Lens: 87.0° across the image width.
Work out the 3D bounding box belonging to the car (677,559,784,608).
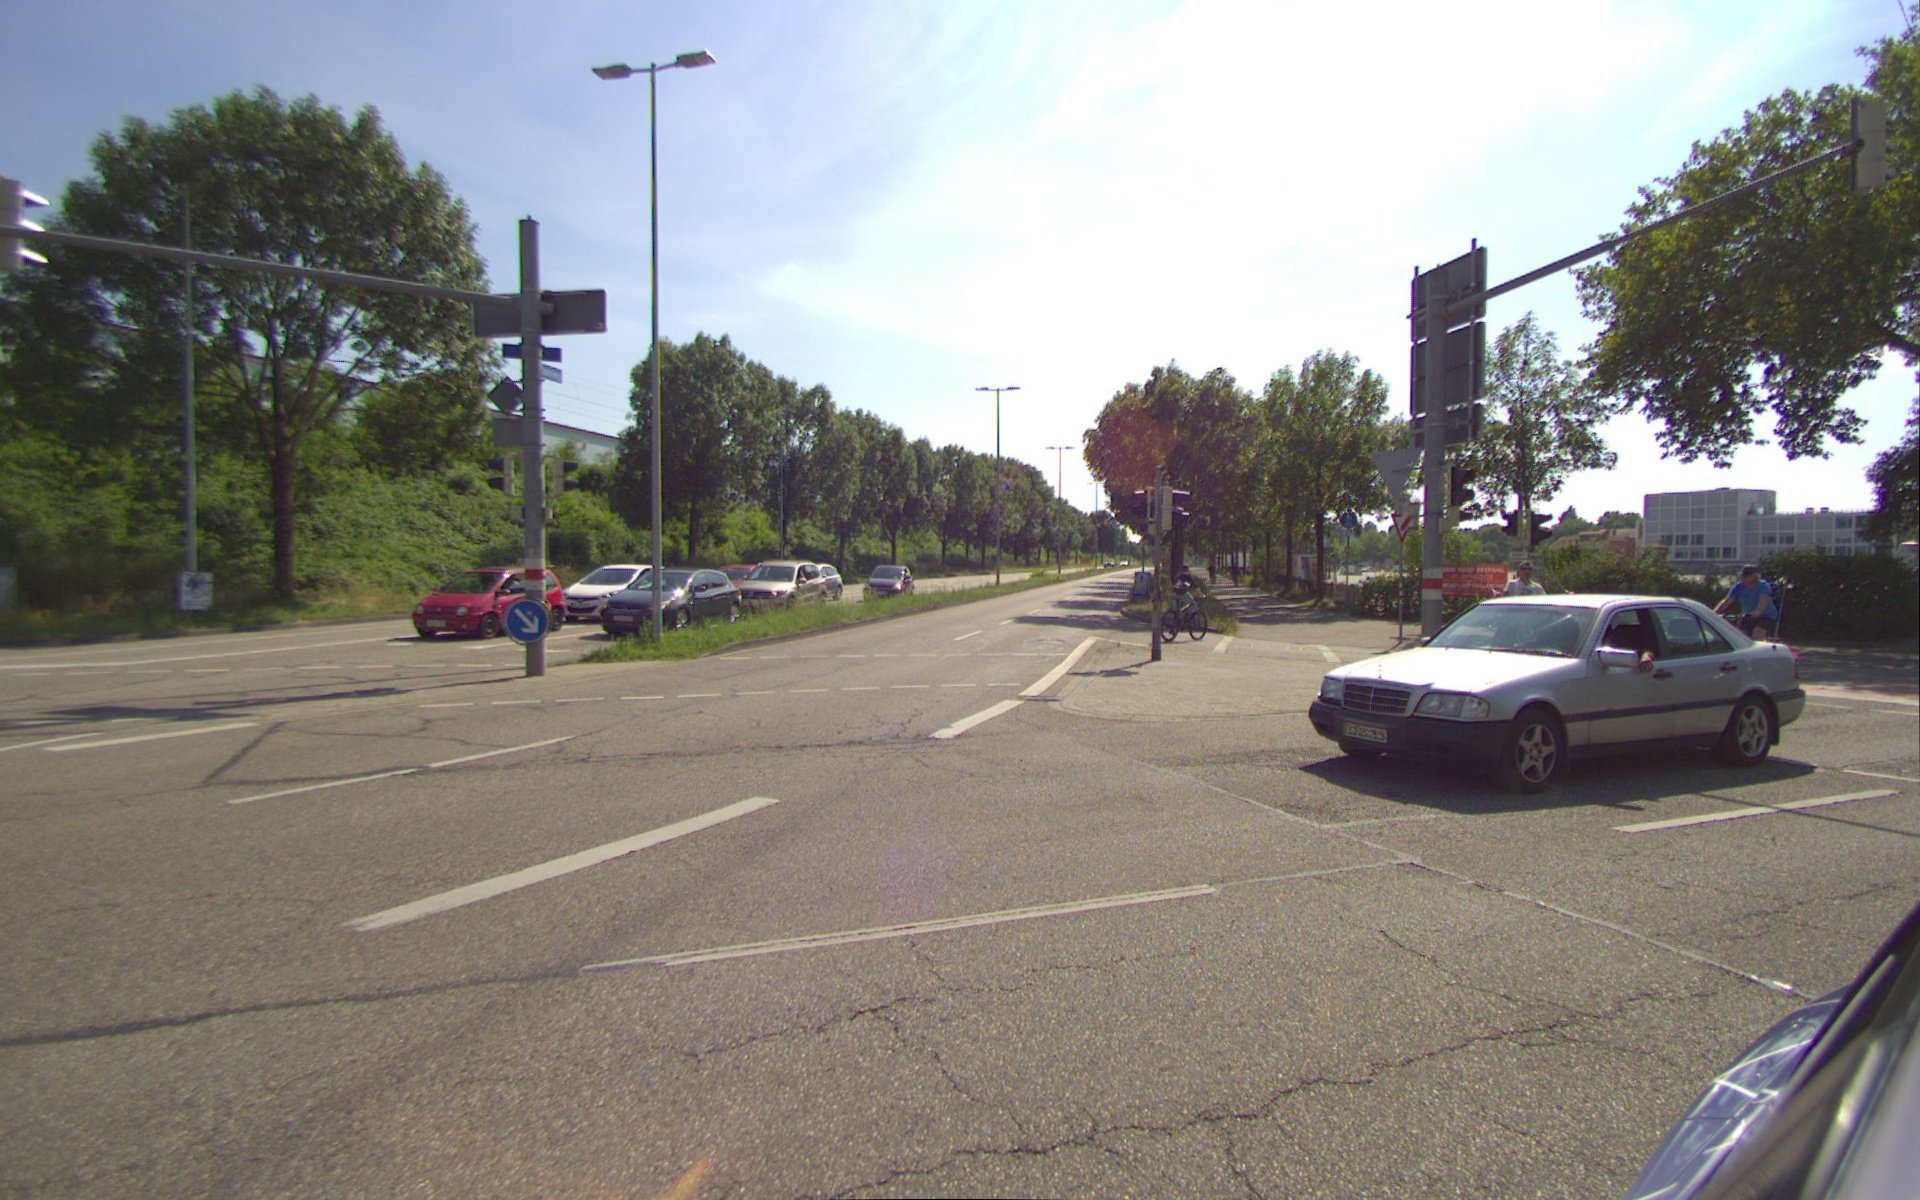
[{"bbox_3d":[-7.557,-0.539,33.691,1.693,1.527,3.977,0,0,18],"label":"car"}]

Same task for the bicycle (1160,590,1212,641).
[{"bbox_3d":[5.433,0.335,24.448,0.869,1.072,2.769,0,2,5],"label":"bicycle"}]

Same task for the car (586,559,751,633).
[{"bbox_3d":[-6.467,-0.100,22.917,1.693,1.527,3.977,0,0,18],"label":"car"}]

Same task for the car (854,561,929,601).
[{"bbox_3d":[-2.705,-0.733,40.800,1.693,1.527,3.977,0,0,18],"label":"car"}]

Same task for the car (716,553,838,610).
[{"bbox_3d":[-5.183,-0.509,29.216,1.693,1.527,4.187,0,0,18],"label":"car"}]

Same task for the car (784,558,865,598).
[{"bbox_3d":[-5.372,-0.857,40.498,1.693,1.527,3.977,0,0,18],"label":"car"}]

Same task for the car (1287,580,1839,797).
[{"bbox_3d":[5.063,0.570,8.478,4.349,1.408,1.720,-1,2,-23],"label":"car"}]

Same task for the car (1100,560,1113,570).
[{"bbox_3d":[26.993,-6.504,186.037,1.970,1.771,4.257,0,2,13],"label":"car"}]

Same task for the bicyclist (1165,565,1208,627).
[{"bbox_3d":[5.419,-0.111,24.247,0.869,1.460,0.965,0,2,6],"label":"bicyclist"}]

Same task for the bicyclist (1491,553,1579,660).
[{"bbox_3d":[8.140,0.068,14.359,0.760,1.453,0.920,0,2,8],"label":"bicyclist"}]

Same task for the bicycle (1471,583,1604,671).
[{"bbox_3d":[8.148,0.331,14.416,0.760,1.066,2.397,0,3,7],"label":"bicycle"}]

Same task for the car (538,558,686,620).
[{"bbox_3d":[-9.161,-0.289,26.978,1.693,1.527,3.977,0,0,18],"label":"car"}]

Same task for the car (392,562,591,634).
[{"bbox_3d":[-9.994,-0.053,21.926,1.693,1.410,3.977,0,0,18],"label":"car"}]

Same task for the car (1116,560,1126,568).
[{"bbox_3d":[34.653,-7.728,217.520,1.970,1.771,4.257,0,2,13],"label":"car"}]

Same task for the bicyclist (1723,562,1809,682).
[{"bbox_3d":[11.111,0.279,13.957,0.890,1.586,0.548,-1,2,-24],"label":"bicyclist"}]

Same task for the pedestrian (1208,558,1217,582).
[{"bbox_3d":[17.907,-2.115,71.757,0.621,1.730,0.765,0,1,11],"label":"pedestrian"}]

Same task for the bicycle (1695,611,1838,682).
[{"bbox_3d":[11.173,0.619,14.000,2.253,0.845,0.548,-1,2,-24],"label":"bicycle"}]

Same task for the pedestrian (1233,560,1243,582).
[{"bbox_3d":[19.170,-2.010,69.814,0.569,1.543,0.877,0,2,11],"label":"pedestrian"}]
